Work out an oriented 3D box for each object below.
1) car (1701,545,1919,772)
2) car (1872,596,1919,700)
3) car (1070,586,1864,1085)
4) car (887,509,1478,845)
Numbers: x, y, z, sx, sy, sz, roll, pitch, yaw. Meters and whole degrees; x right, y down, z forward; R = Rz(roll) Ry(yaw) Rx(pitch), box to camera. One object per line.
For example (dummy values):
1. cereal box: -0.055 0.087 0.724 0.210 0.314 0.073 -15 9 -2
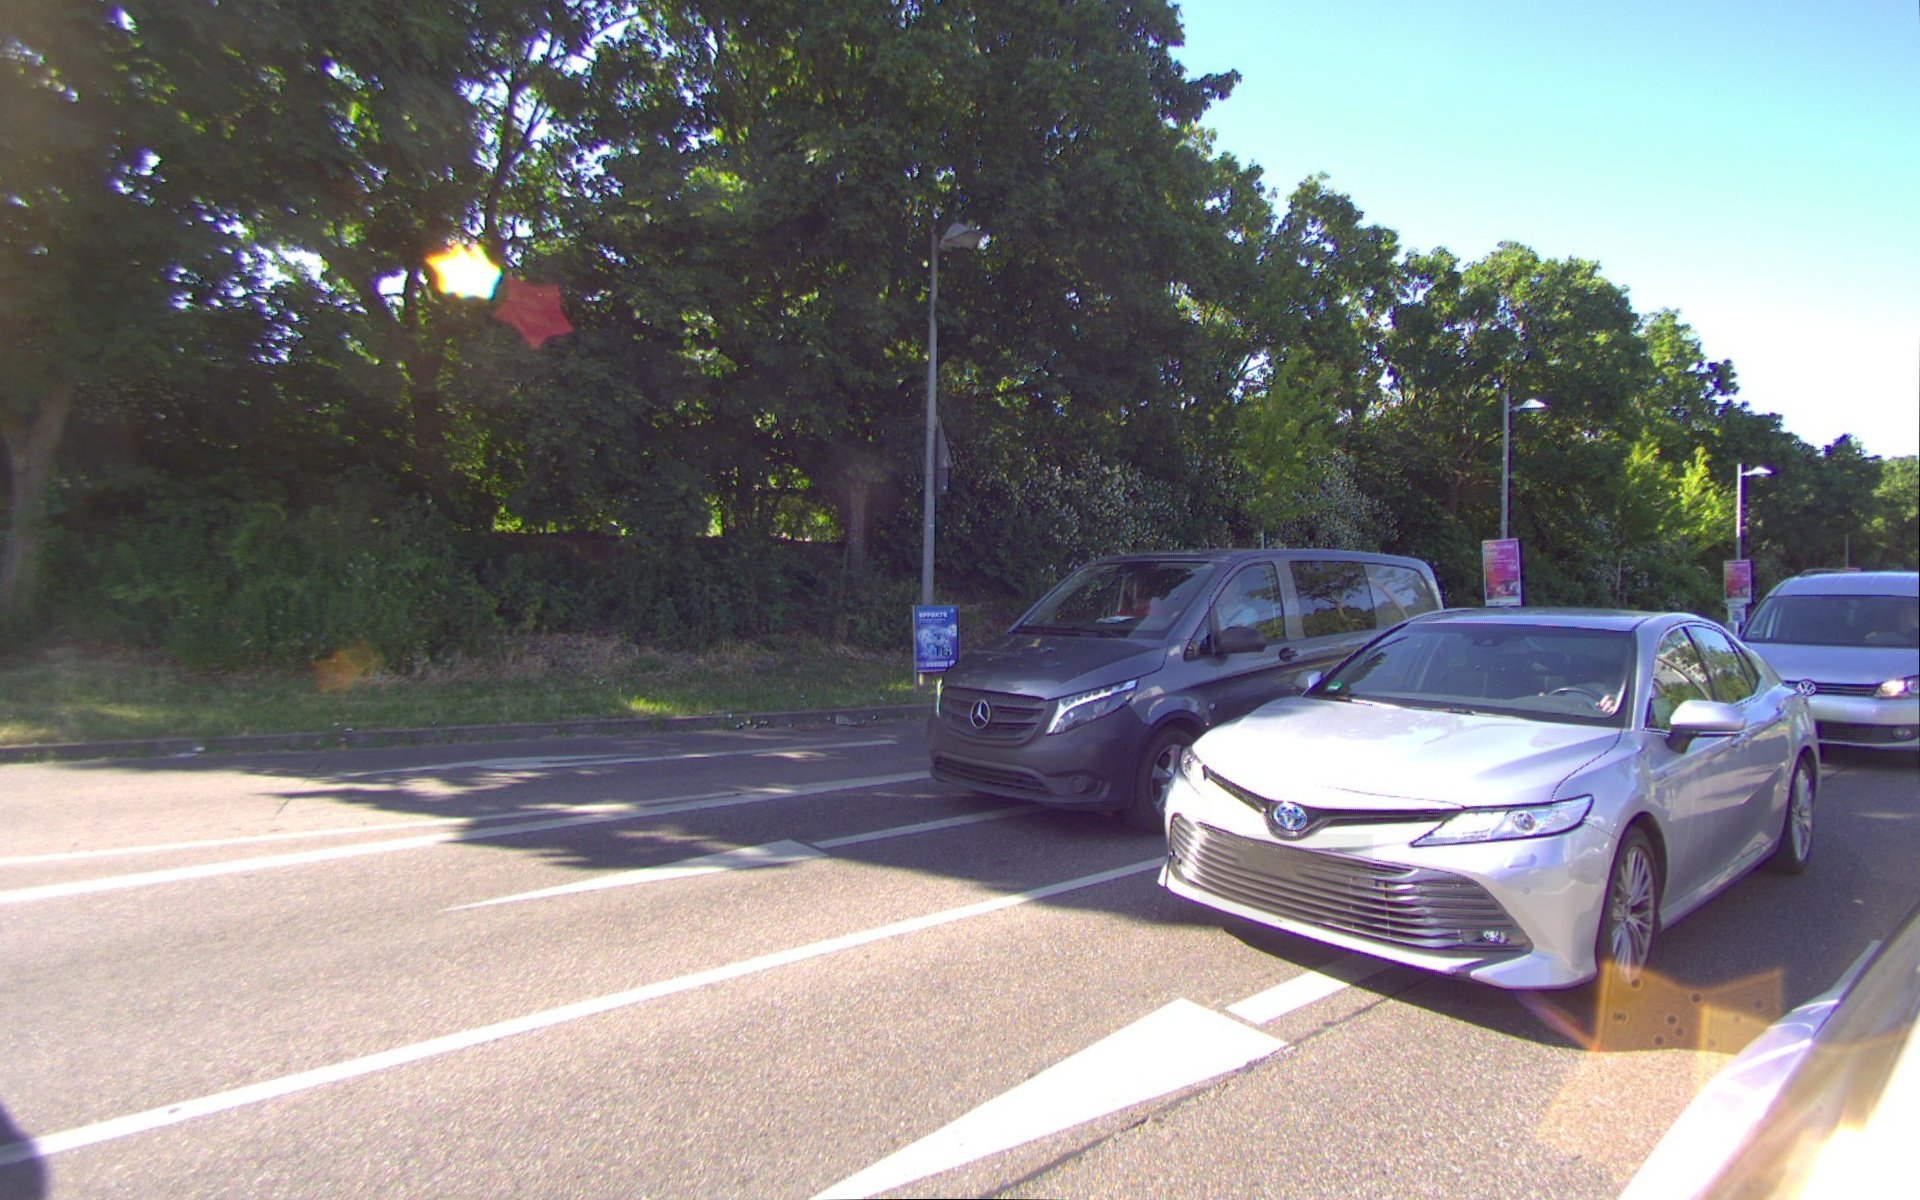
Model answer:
1. car: 9.508 0.472 10.551 4.540 1.928 1.822 0 1 -40
2. car: 14.978 0.675 14.875 3.995 1.421 1.776 0 1 -40
3. car: 2.955 0.696 5.359 4.664 1.477 2.069 0 2 -40
4. car: 2.047 0.406 8.177 5.056 1.917 1.998 0 1 -40
